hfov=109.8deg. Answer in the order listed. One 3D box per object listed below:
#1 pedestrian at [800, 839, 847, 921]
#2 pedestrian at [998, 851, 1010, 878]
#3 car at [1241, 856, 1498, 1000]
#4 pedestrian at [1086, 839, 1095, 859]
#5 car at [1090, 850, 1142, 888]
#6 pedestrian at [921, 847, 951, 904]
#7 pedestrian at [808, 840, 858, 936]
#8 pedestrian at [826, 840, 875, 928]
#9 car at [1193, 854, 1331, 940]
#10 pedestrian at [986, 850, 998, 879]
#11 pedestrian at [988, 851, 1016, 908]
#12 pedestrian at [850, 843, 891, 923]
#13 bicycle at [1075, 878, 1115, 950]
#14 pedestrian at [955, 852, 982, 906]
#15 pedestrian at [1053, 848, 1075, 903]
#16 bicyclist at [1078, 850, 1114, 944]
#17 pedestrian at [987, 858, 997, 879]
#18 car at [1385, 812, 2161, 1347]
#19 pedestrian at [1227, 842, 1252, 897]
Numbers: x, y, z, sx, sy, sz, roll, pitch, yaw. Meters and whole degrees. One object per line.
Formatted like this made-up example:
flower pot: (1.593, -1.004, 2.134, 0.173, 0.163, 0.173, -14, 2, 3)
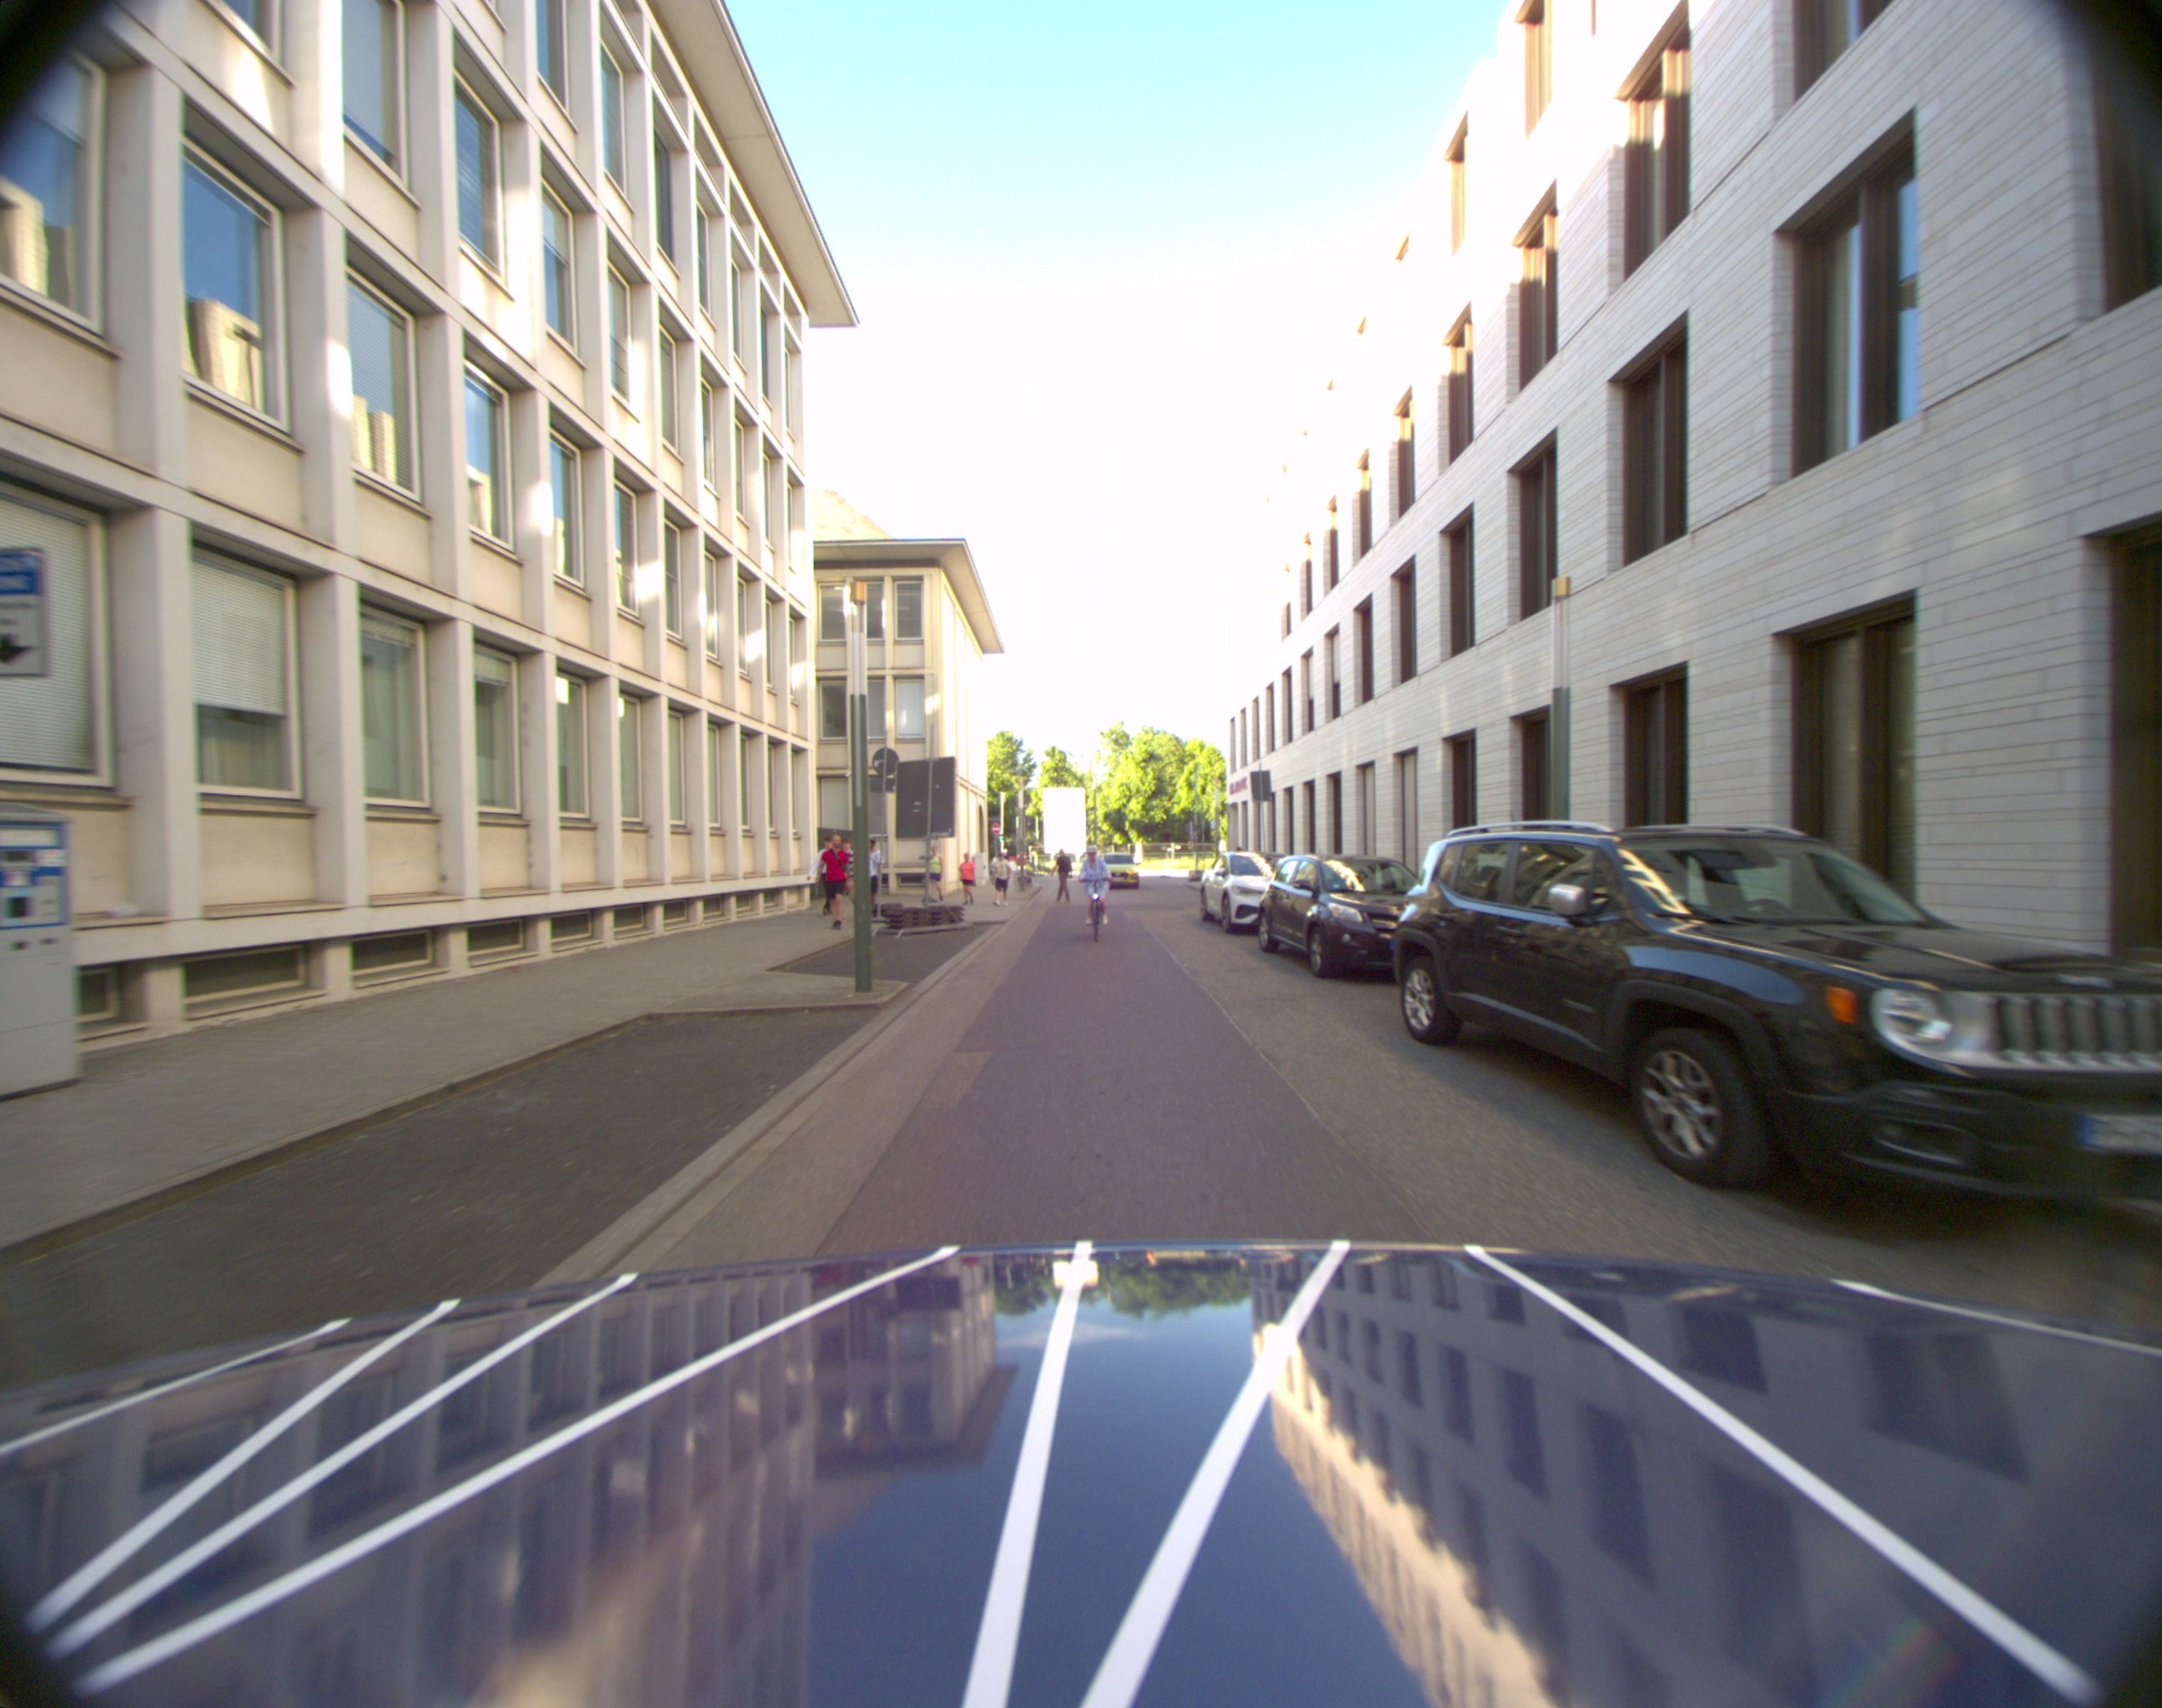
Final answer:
pedestrian: (-5.856, 0.577, 17.287, 0.684, 1.768, 0.693, 5, 1, 2)
pedestrian: (-4.607, 0.637, 45.425, 0.626, 1.604, 0.623, -2, 2, -5)
car: (3.641, 0.820, 10.520, 1.827, 1.532, 4.263, -1, 0, -2)
pedestrian: (0.861, -0.437, 68.728, 0.623, 1.773, 0.626, -2, 2, -5)
car: (1.496, 0.605, 33.789, 1.999, 1.451, 4.435, -2, 1, -1)
pedestrian: (-4.457, 0.641, 23.379, 0.684, 1.706, 0.693, 3, 1, 2)
pedestrian: (-4.753, 0.641, 14.573, 0.684, 1.768, 0.593, 3, 1, 2)
pedestrian: (-4.857, 0.617, 16.044, 0.684, 1.768, 0.693, 5, 1, 2)
car: (3.600, 0.774, 15.936, 1.827, 1.532, 4.446, 0, 0, 0)
pedestrian: (-5.257, 0.614, 44.731, 0.626, 1.633, 0.623, -2, 2, -5)
pedestrian: (-2.444, 0.777, 23.450, 0.684, 1.706, 0.693, 3, 1, 2)
pedestrian: (-4.776, 0.639, 17.257, 0.684, 1.768, 0.693, 1, 1, 2)
bicycle: (0.283, 1.057, 14.026, 0.595, 1.077, 2.311, -2, 1, 4)
pedestrian: (-3.444, 0.752, 23.249, 0.684, 1.627, 0.693, 1, 1, 2)
pedestrian: (-0.544, 0.690, 24.913, 0.643, 1.780, 0.575, 2, 2, 0)
bicyclist: (0.283, 0.772, 13.945, 0.585, 1.679, 0.538, -2, 2, 4)
pedestrian: (-5.292, 0.858, 45.402, 0.535, 1.170, 0.623, -2, 2, -5)
car: (3.550, 0.734, 4.445, 1.827, 1.704, 4.017, 1, 0, -1)
pedestrian: (5.288, 0.494, 25.400, 0.645, 1.780, 0.816, -2, 2, 1)
